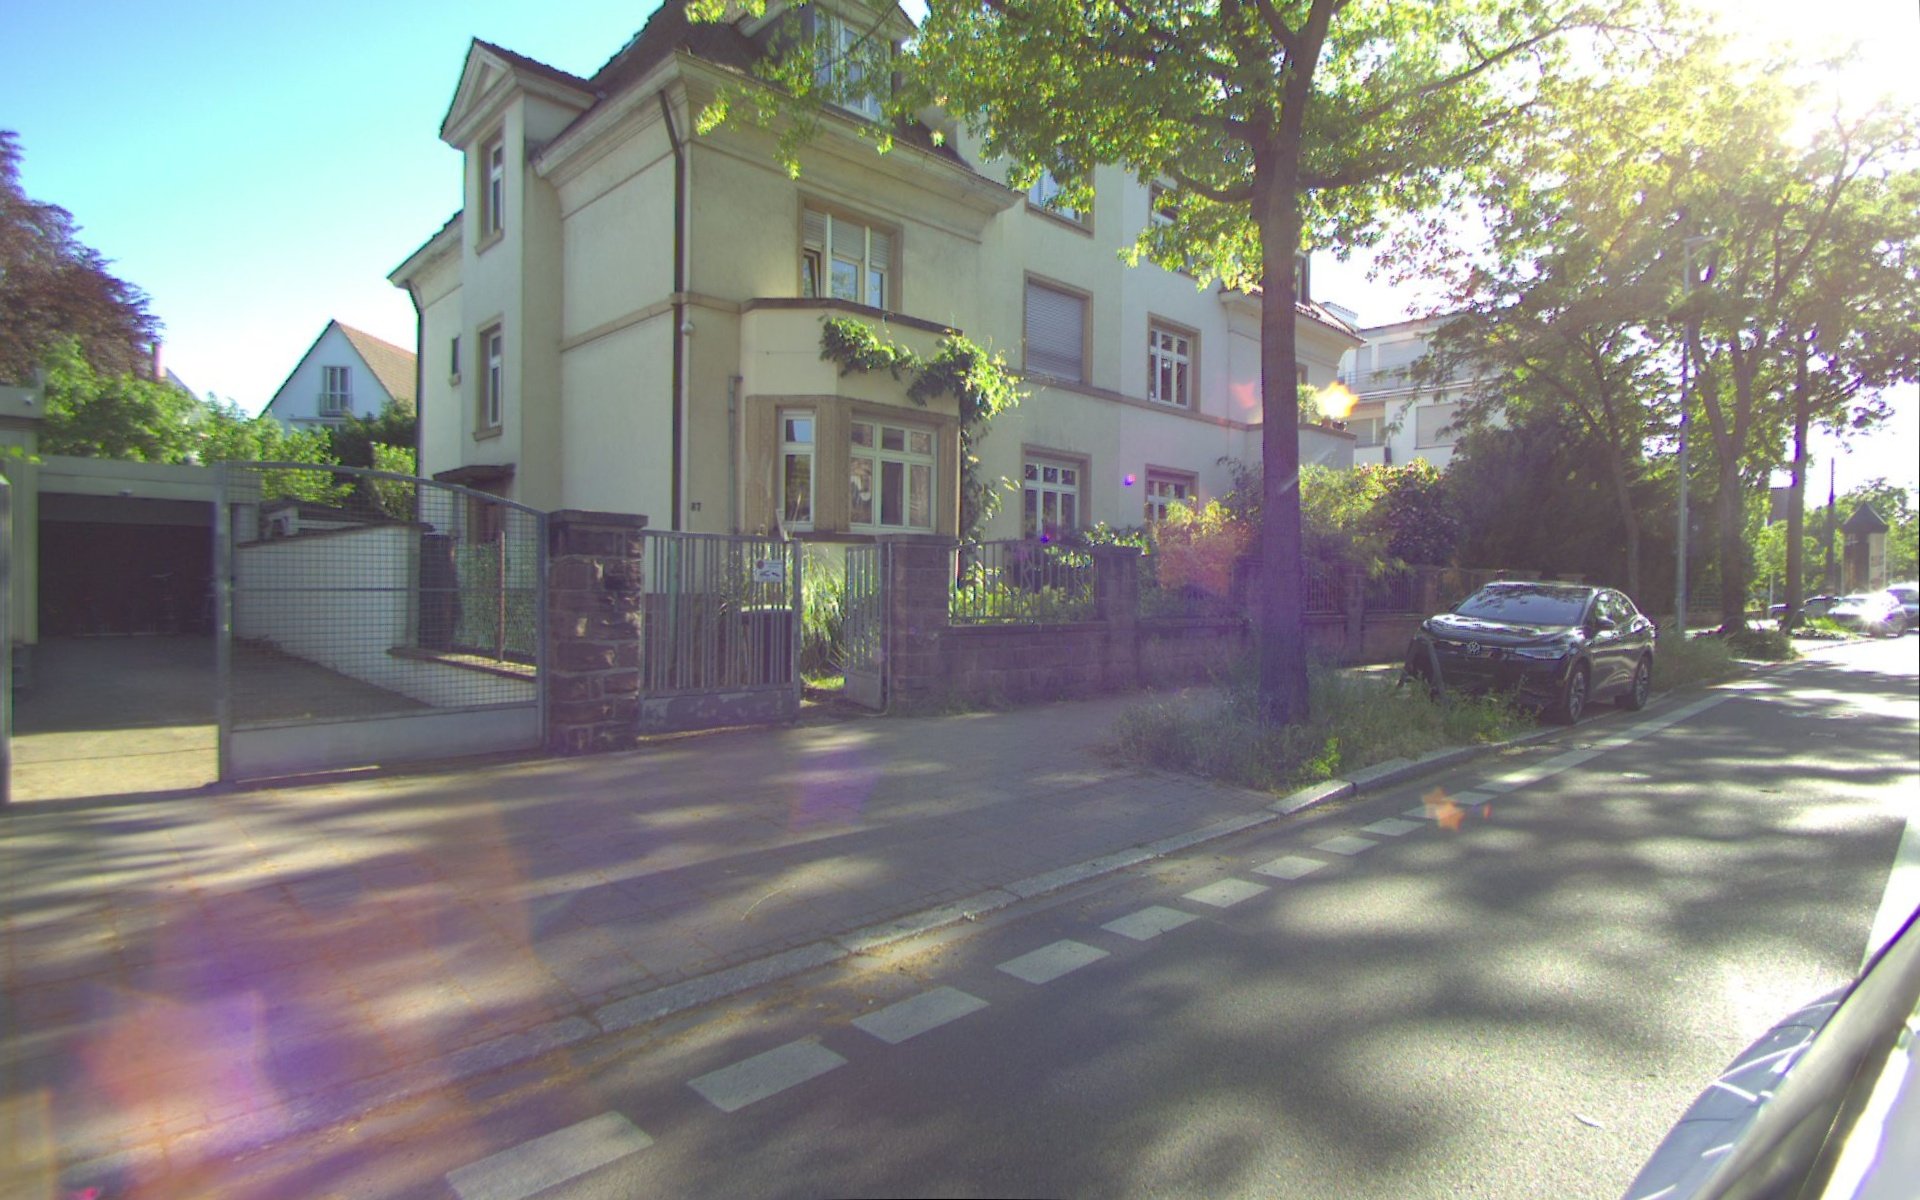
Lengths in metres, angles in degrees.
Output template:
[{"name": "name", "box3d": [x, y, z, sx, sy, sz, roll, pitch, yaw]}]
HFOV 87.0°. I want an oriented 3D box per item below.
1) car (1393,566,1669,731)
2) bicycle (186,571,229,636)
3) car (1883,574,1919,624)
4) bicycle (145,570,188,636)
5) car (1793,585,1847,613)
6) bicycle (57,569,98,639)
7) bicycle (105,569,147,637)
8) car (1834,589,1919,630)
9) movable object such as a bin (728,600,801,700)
[{"name": "car", "box3d": [7.416, 0.478, 12.978, 4.102, 1.765, 1.995, -1, 1, -44]}, {"name": "bicycle", "box3d": [-13.631, 0.053, 18.320, 0.512, 1.136, 1.464, -1, 1, -41]}, {"name": "car", "box3d": [37.194, -0.051, 38.936, 4.172, 1.852, 1.904, -1, 1, -39]}, {"name": "bicycle", "box3d": [-14.112, 0.039, 17.994, 0.512, 1.136, 1.464, -1, 1, -41]}, {"name": "car", "box3d": [47.412, -0.071, 55.750, 3.931, 1.460, 1.739, -1, 1, -41]}, {"name": "bicycle", "box3d": [-15.028, 0.056, 17.234, 0.512, 1.136, 1.464, -1, 1, -41]}, {"name": "bicycle", "box3d": [-14.533, 0.047, 17.621, 0.512, 1.136, 1.464, -1, 1, -41]}, {"name": "car", "box3d": [32.043, 0.290, 35.315, 3.848, 1.356, 1.719, -1, 1, -40]}, {"name": "movable object such as a bin", "box3d": [-2.236, 0.538, 11.494, 0.712, 1.068, 0.969, 0, 0, -17]}]
